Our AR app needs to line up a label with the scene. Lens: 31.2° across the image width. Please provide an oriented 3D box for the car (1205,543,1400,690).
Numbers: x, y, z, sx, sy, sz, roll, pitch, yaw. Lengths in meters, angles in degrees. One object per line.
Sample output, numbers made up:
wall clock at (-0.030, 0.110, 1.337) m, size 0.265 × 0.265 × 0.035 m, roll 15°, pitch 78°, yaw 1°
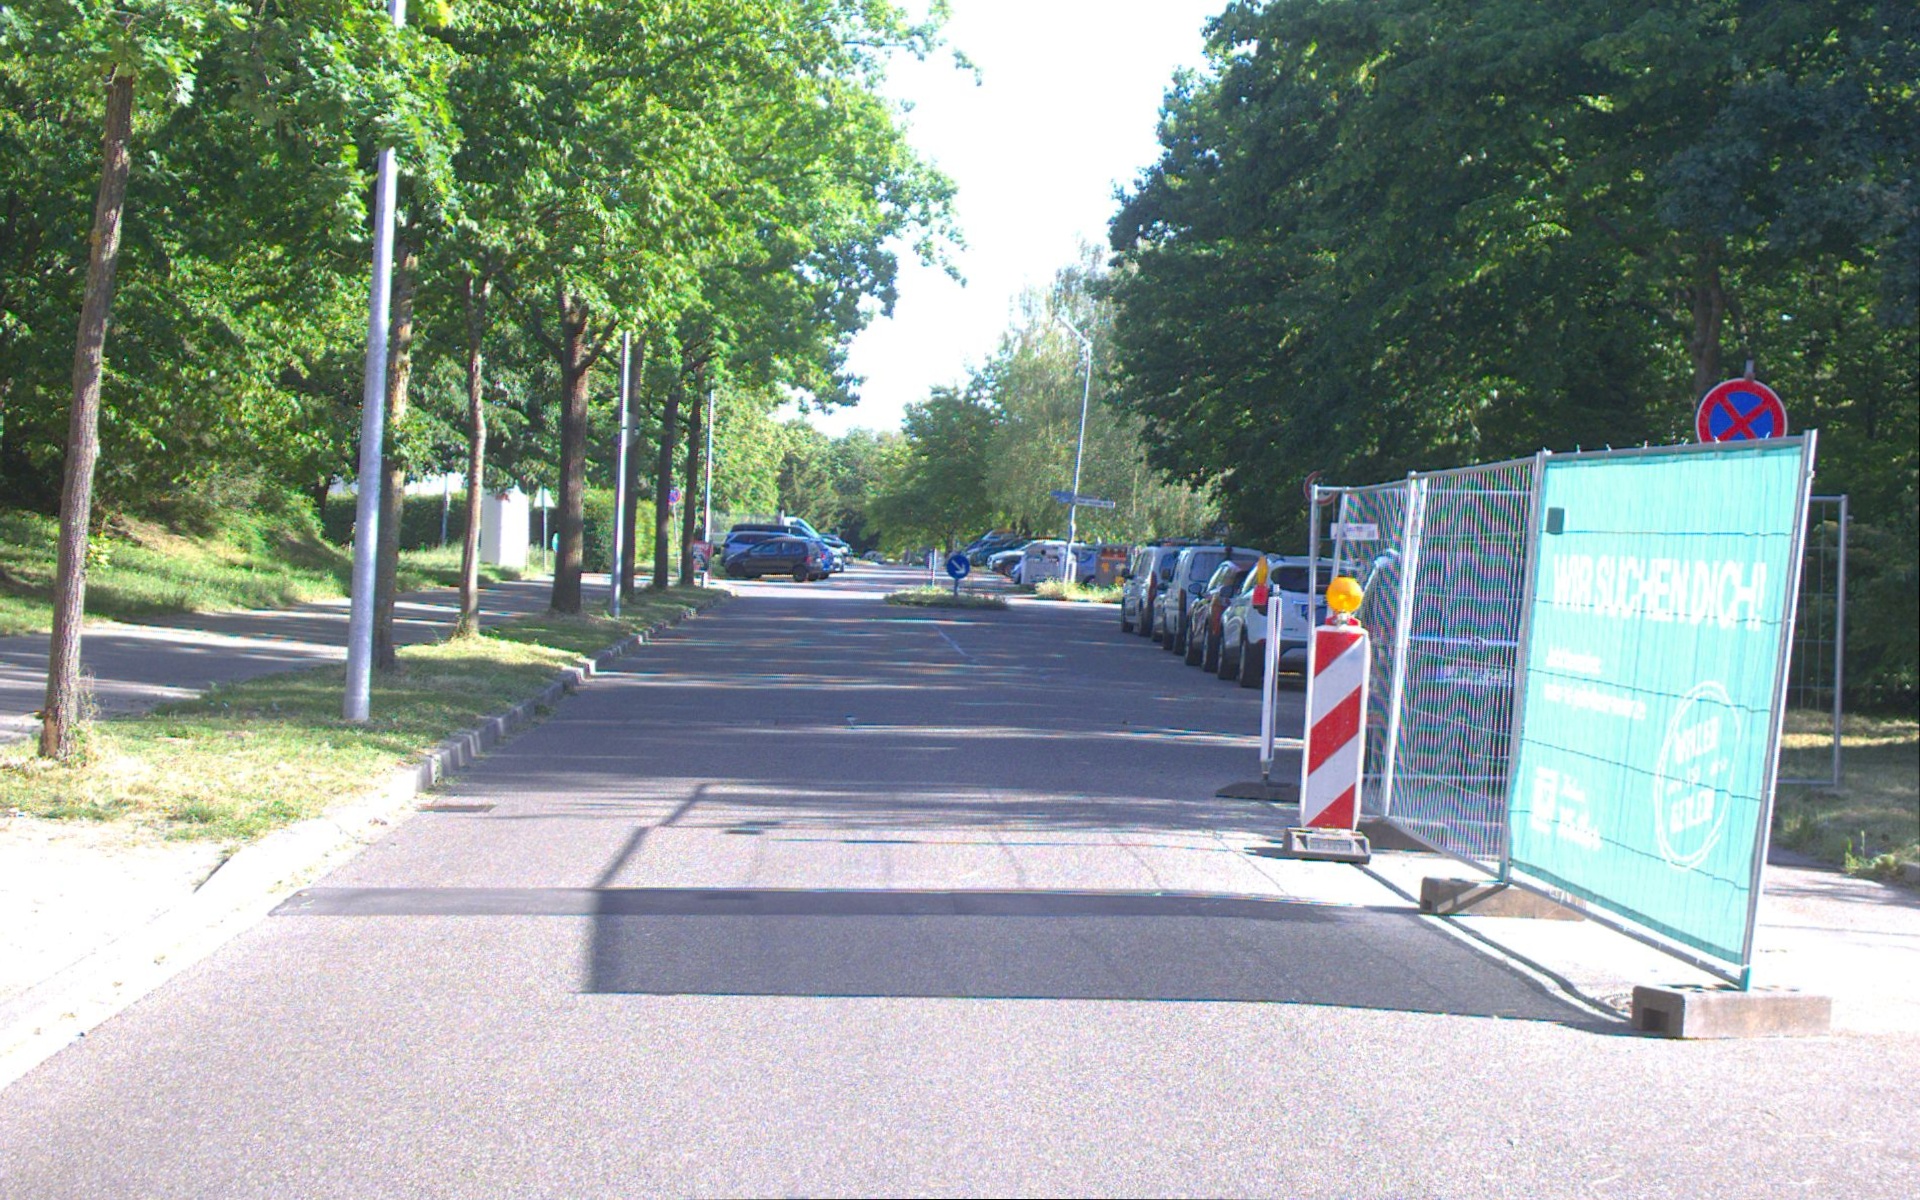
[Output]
car at (4.255, 0.166, 43.289) m, size 1.775 × 1.616 × 4.065 m, roll 4°, pitch 1°, yaw -2°

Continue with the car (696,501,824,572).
car at (-8.542, -2.726, 146.713) m, size 5.199 × 2.612 × 2.294 m, roll 4°, pitch 1°, yaw -6°

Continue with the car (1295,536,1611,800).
car at (3.544, 0.430, 25.443) m, size 1.810 × 1.645 × 4.420 m, roll 4°, pitch 1°, yaw 3°

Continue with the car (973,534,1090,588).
car at (2.502, -1.359, 119.881) m, size 3.839 × 1.571 × 1.688 m, roll 4°, pitch 1°, yaw 6°

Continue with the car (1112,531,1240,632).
car at (4.206, -0.391, 67.673) m, size 1.790 × 1.779 × 4.558 m, roll 4°, pitch 1°, yaw -4°

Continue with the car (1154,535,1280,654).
car at (4.188, -0.121, 56.462) m, size 1.623 × 1.767 × 3.669 m, roll 4°, pitch 1°, yaw -1°

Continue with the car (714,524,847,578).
car at (-6.337, -1.731, 121.493) m, size 4.319 × 1.571 × 2.045 m, roll 4°, pitch 1°, yaw 6°

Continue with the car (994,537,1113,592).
car at (3.207, -1.214, 117.065) m, size 3.839 × 1.571 × 1.688 m, roll 4°, pitch 1°, yaw 6°

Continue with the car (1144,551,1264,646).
car at (4.328, -0.051, 61.531) m, size 1.691 × 1.507 × 4.207 m, roll 4°, pitch 1°, yaw -1°

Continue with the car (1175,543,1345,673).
car at (4.175, 0.079, 48.482) m, size 1.775 × 1.616 × 4.065 m, roll 4°, pitch 1°, yaw -2°

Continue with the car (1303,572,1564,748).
car at (4.321, 0.505, 31.934) m, size 1.661 × 1.371 × 4.155 m, roll 4°, pitch 1°, yaw -1°
